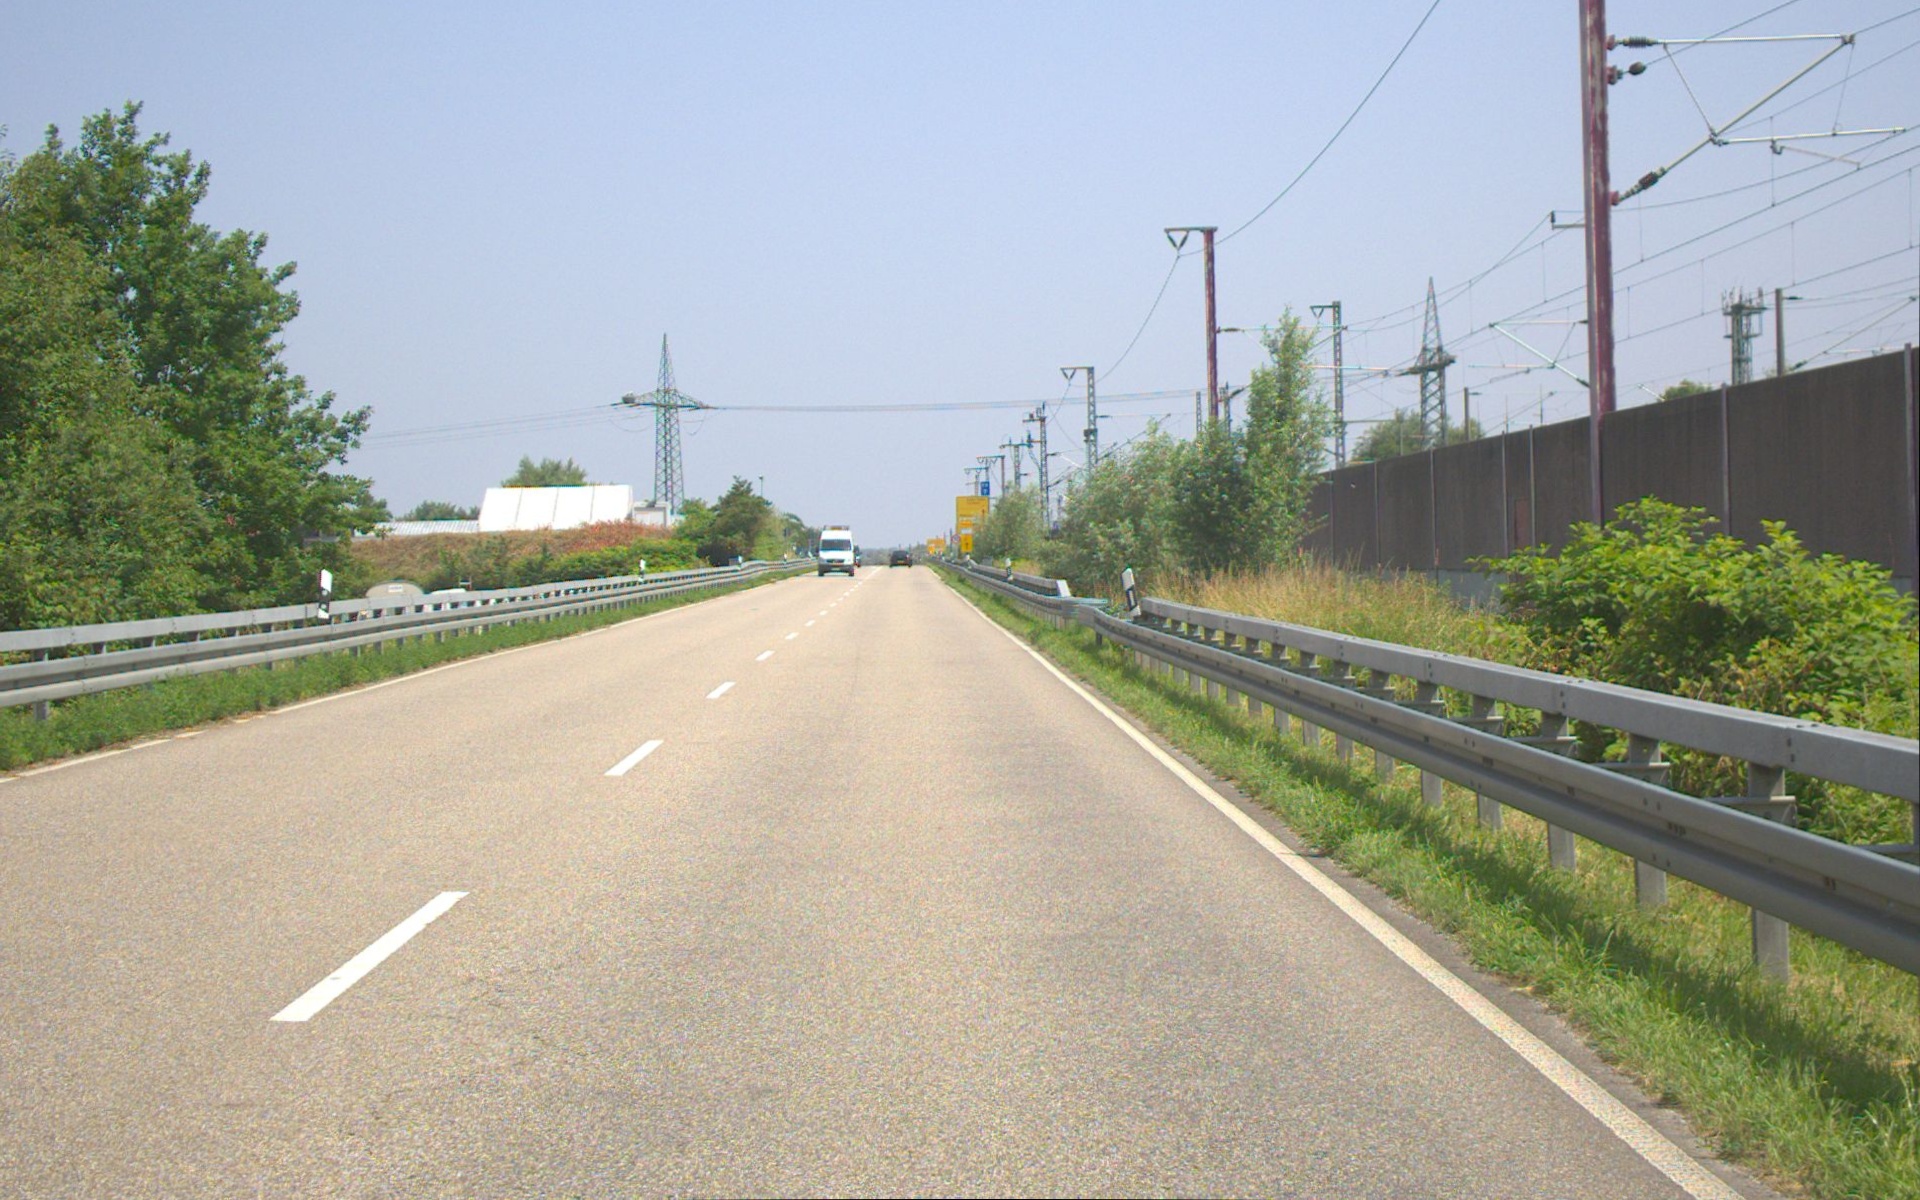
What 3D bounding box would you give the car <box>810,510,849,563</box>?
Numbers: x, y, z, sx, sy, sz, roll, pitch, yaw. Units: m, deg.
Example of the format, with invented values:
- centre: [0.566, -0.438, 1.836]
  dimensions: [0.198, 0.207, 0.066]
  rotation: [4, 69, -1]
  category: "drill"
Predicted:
- centre: [-7.380, -3.577, 194.329]
  dimensions: [2.079, 2.952, 6.730]
  rotation: [0, 1, -1]
  category: "car"
